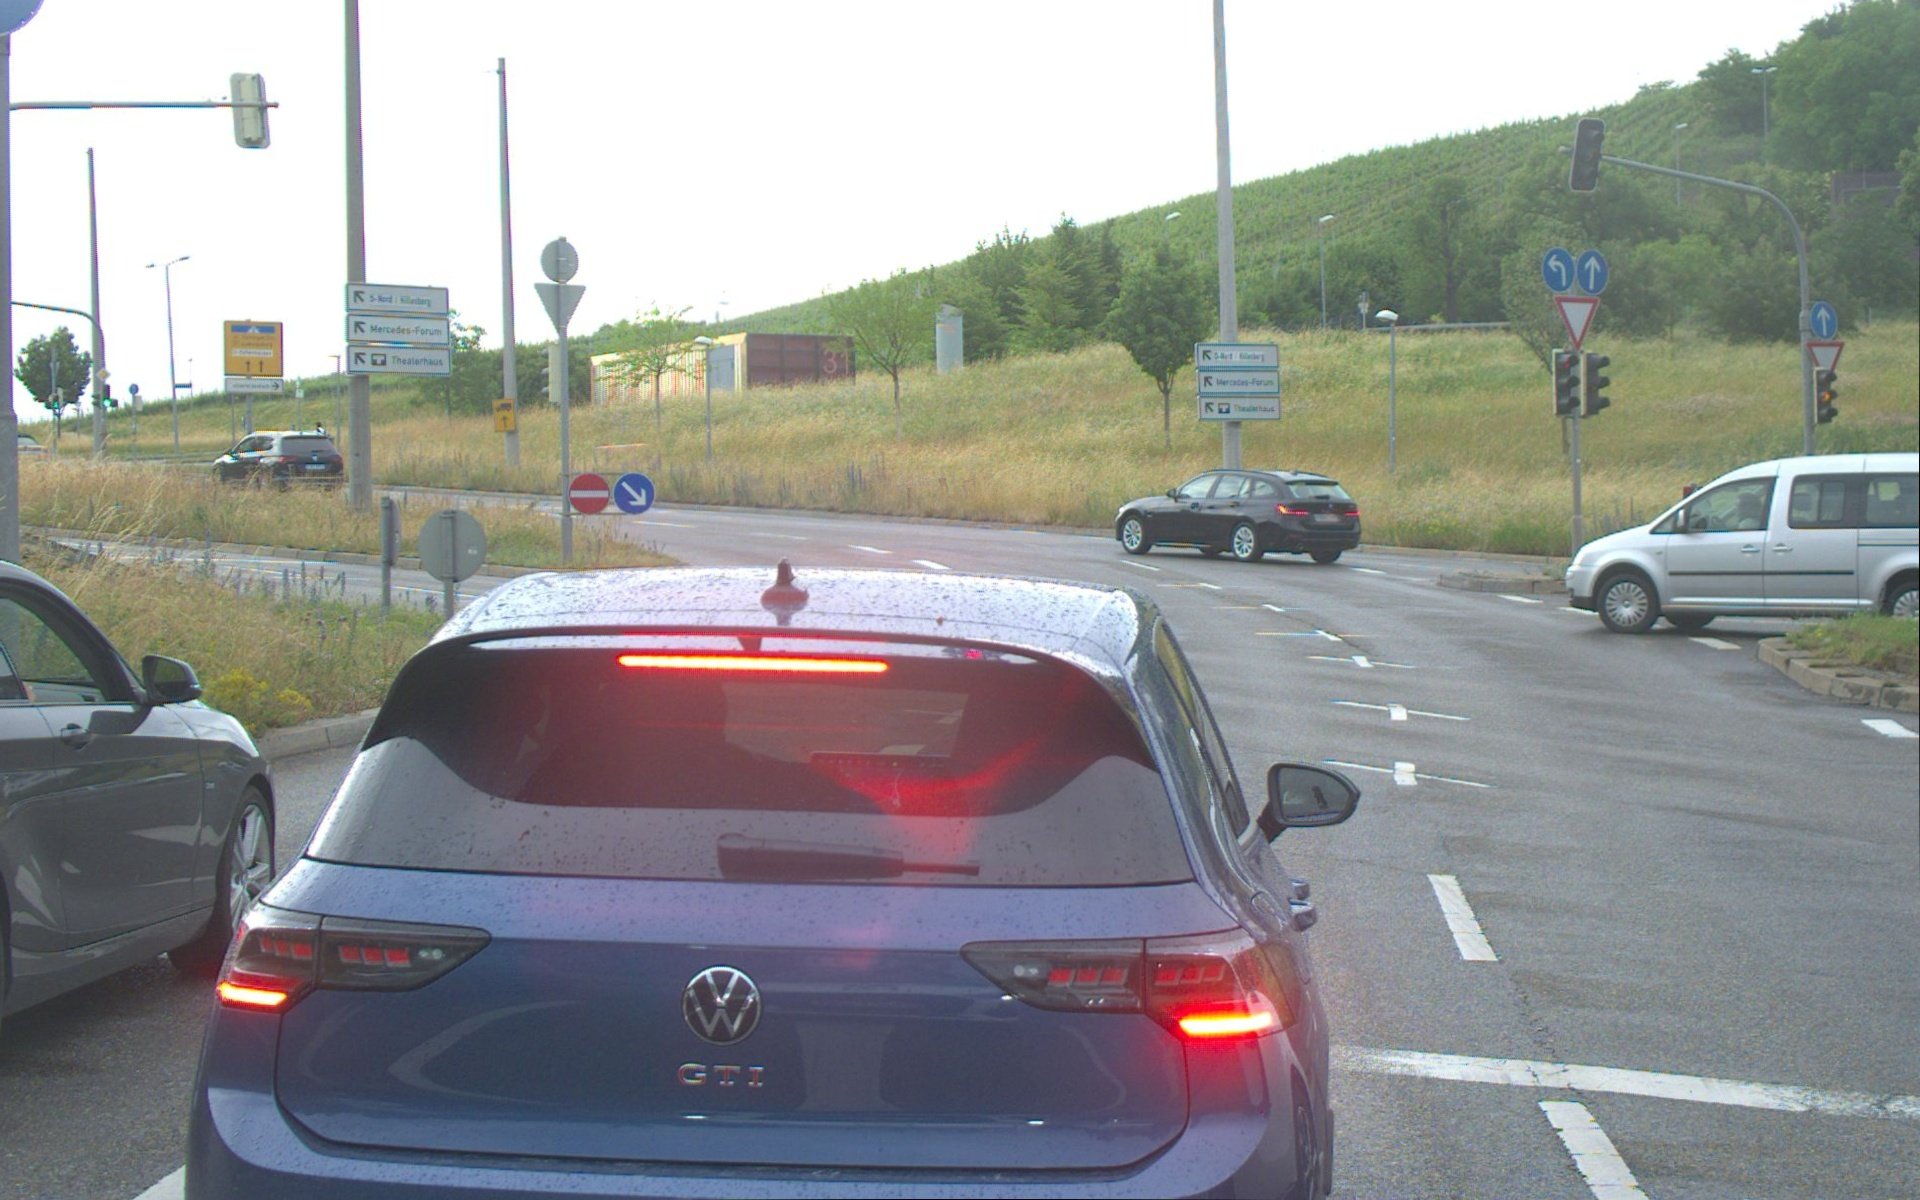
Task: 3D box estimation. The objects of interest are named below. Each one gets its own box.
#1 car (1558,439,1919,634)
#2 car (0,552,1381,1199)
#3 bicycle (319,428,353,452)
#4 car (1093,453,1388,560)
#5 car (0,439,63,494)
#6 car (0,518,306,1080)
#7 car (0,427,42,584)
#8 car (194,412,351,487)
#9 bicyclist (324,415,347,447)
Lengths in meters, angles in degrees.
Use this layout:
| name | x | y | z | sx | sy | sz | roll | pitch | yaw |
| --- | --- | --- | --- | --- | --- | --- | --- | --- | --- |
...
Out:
| name | x | y | z | sx | sy | sz | roll | pitch | yaw |
| --- | --- | --- | --- | --- | --- | --- | --- | --- | --- |
| car | 8.479 | -0.611 | 34.064 | 4.692 | 1.844 | 1.818 | 1 | 0 | 35 |
| car | -0.213 | 0.650 | 6.407 | 1.825 | 1.455 | 3.808 | 0 | 1 | 5 |
| bicycle | -20.873 | -5.359 | 114.976 | 0.518 | 0.772 | 1.621 | 2 | 1 | -33 |
| car | 4.423 | -1.513 | 54.997 | 1.994 | 1.612 | 4.851 | 0 | 2 | -36 |
| car | -28.340 | -3.941 | 101.740 | 1.994 | 1.472 | 4.502 | 1 | 0 | -36 |
| car | -3.262 | 0.497 | 9.750 | 1.703 | 1.454 | 4.114 | 0 | 1 | 5 |
| car | -11.693 | -0.993 | 34.538 | 1.998 | 1.615 | 4.515 | 1 | 0 | 35 |
| car | -16.594 | -3.594 | 82.851 | 1.994 | 1.631 | 4.420 | 1 | 0 | -37 |
| bicyclist | -20.894 | -5.657 | 115.015 | 0.523 | 1.043 | 0.580 | 3 | 1 | -34 |
